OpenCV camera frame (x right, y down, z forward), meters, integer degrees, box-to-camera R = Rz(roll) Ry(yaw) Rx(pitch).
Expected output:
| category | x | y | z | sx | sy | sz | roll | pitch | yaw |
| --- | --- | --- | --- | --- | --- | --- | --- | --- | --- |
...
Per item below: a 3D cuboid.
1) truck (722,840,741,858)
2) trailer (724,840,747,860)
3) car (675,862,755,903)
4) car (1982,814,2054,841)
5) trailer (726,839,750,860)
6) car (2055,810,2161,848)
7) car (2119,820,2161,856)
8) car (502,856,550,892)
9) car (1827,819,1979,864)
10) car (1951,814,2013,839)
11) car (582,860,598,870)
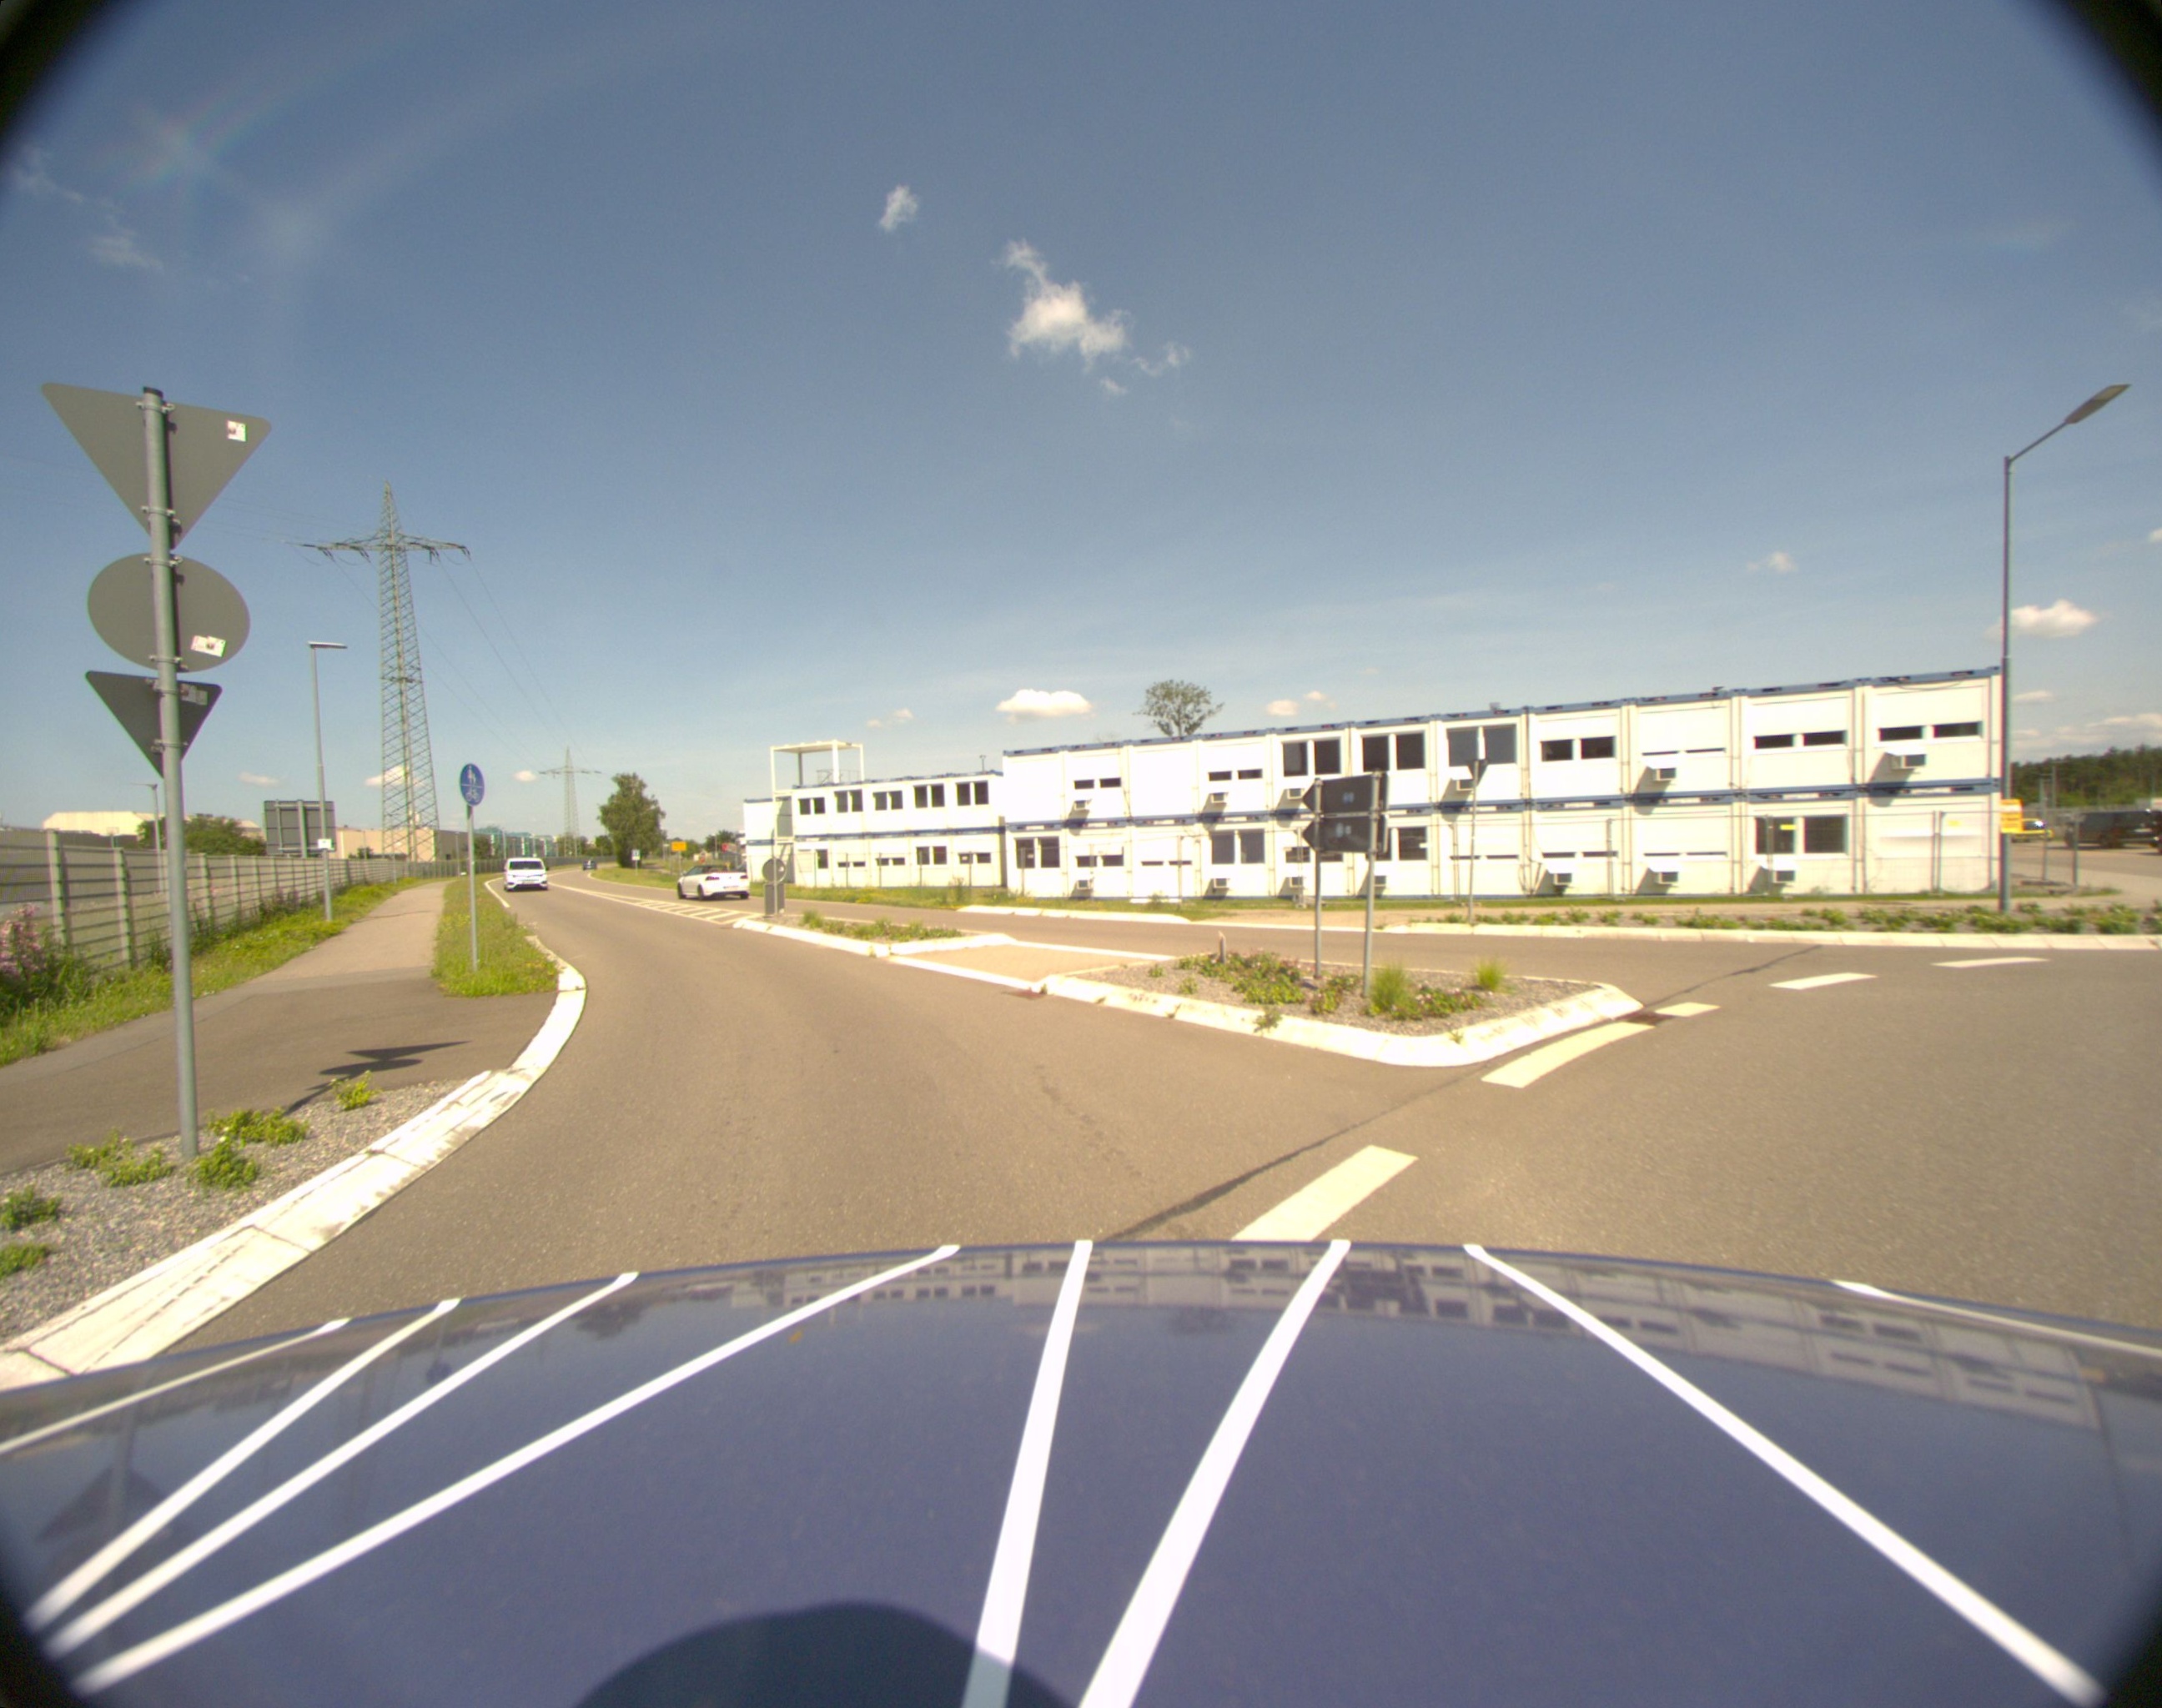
| category | x | y | z | sx | sy | sz | roll | pitch | yaw |
| --- | --- | --- | --- | --- | --- | --- | --- | --- | --- |
| truck | -72.558 | -1.028 | 157.804 | 3.116 | 3.624 | 10.569 | -1 | 1 | -27 |
| trailer | -66.764 | -0.899 | 146.488 | 3.306 | 3.624 | 14.890 | -1 | 1 | -27 |
| car | -14.400 | 1.054 | 29.807 | 1.779 | 1.420 | 4.040 | -2 | 1 | -41 |
| car | 58.802 | -1.706 | 47.761 | 1.994 | 1.540 | 4.322 | -1 | 2 | 39 |
| trailer | -61.436 | -0.779 | 136.020 | 3.415 | 3.624 | 8.638 | -1 | 1 | -27 |
| car | 52.981 | -1.303 | 39.139 | 1.995 | 1.821 | 4.321 | -1 | 2 | 30 |
| car | 49.042 | -0.706 | 33.507 | 1.995 | 1.540 | 4.320 | -1 | 2 | 25 |
| car | -30.408 | 1.023 | 41.587 | 1.841 | 1.796 | 4.816 | -1 | 1 | -39 |
| car | 36.481 | -0.551 | 33.917 | 4.302 | 1.856 | 2.003 | -1 | 2 | 37 |
| car | 61.555 | -1.902 | 51.994 | 1.994 | 1.540 | 4.322 | -1 | 2 | 40 |
| car | -75.813 | 1.659 | 117.340 | 1.711 | 1.473 | 3.990 | -1 | 1 | -28 |
